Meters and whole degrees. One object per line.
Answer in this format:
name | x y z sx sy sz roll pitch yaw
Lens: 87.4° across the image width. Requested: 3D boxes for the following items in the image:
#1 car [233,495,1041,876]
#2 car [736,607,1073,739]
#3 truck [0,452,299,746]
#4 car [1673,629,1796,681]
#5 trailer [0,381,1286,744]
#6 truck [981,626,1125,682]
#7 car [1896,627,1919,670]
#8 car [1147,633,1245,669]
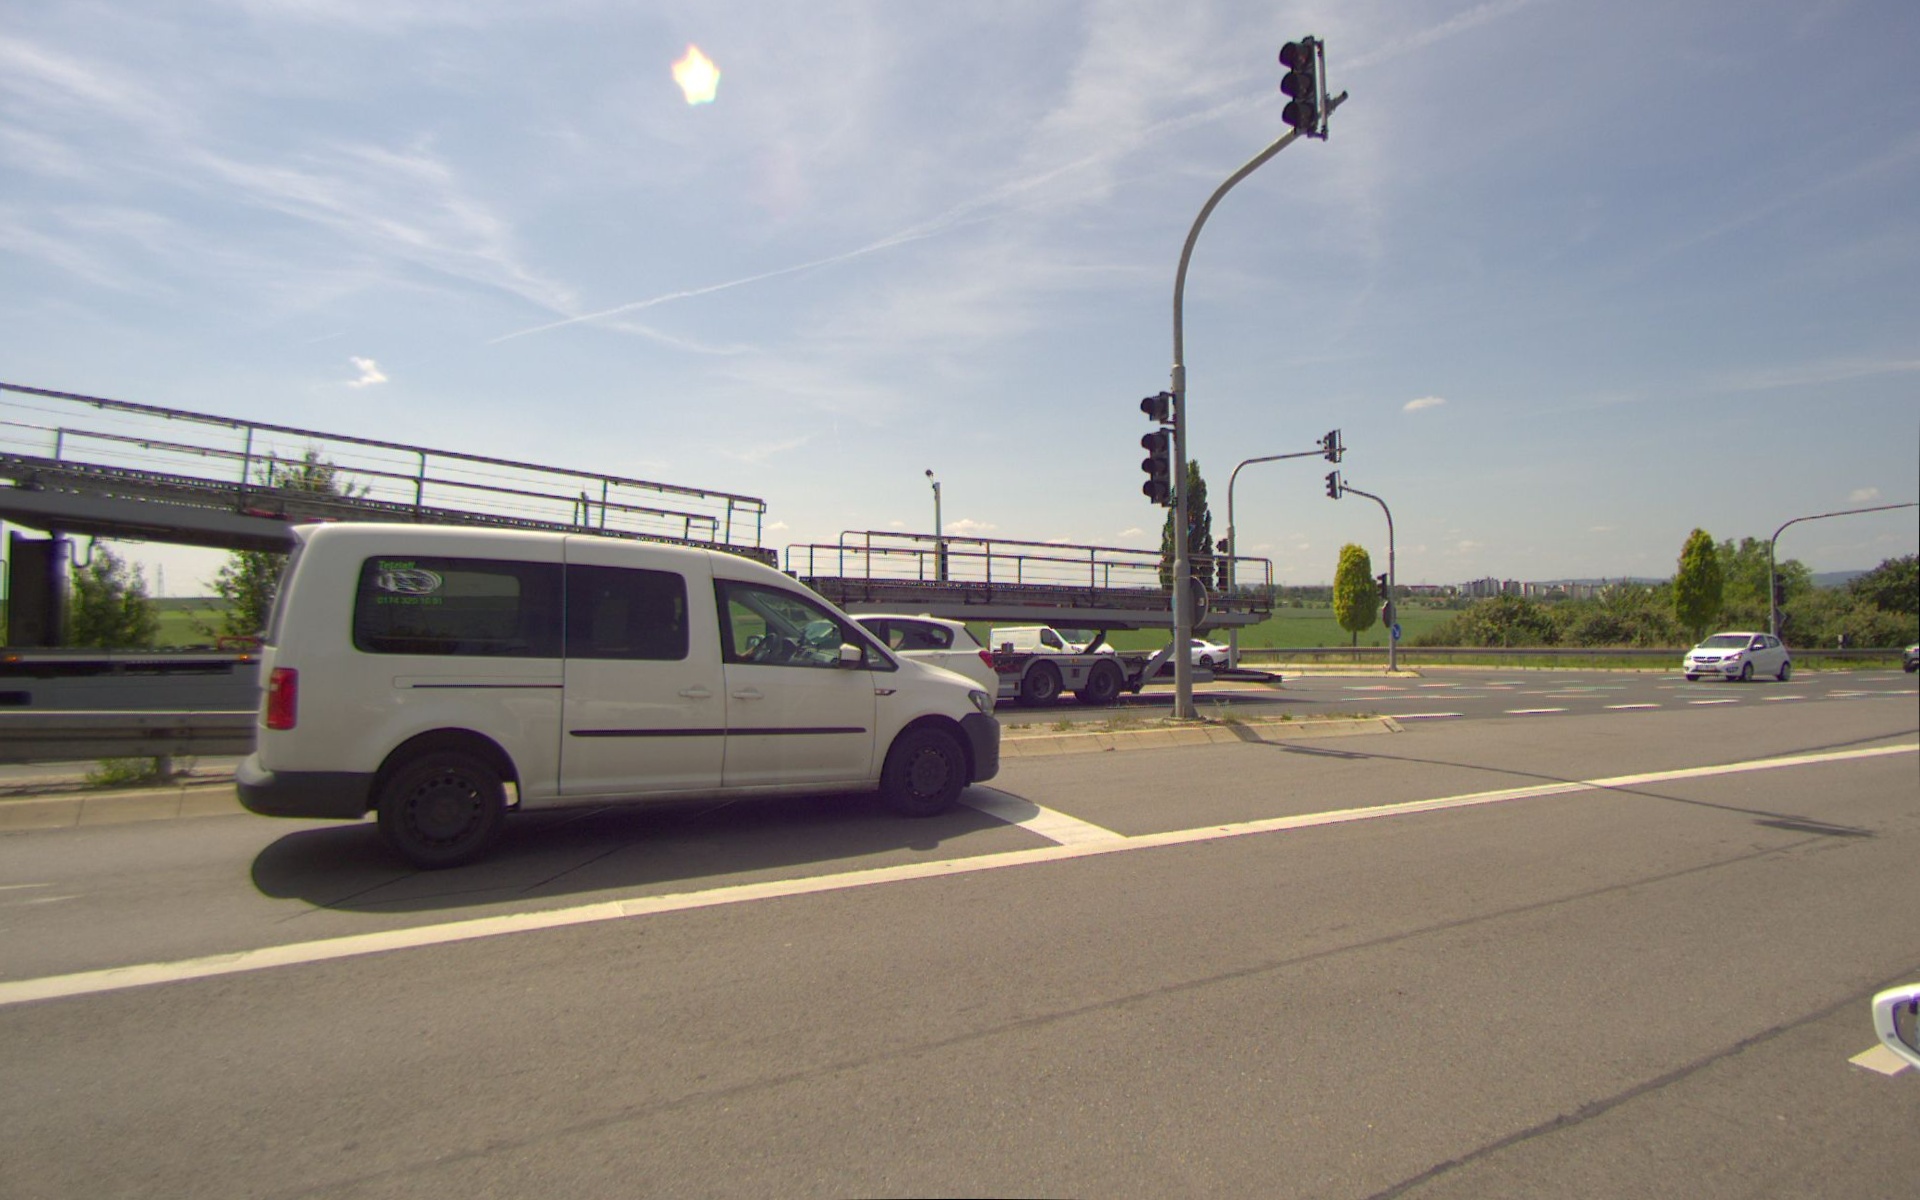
car | -1.885 0.445 6.775 4.697 1.822 1.759 1 0 -31
car | -0.672 0.877 12.857 3.953 1.452 1.764 2 -2 -30
truck | -11.173 -0.011 11.338 5.918 3.053 2.787 2 -1 -30
car | 23.974 1.699 31.084 3.754 1.516 1.638 2 -3 -28
trailer | -2.620 -0.105 16.332 19.564 3.813 2.627 2 -1 -30
truck | 3.107 1.825 34.574 1.981 1.779 5.229 2 -3 -36
car | 38.273 1.891 38.953 4.276 1.645 1.637 2 -3 -29
car | 11.324 2.434 48.369 1.622 1.479 4.436 2 0 -43
